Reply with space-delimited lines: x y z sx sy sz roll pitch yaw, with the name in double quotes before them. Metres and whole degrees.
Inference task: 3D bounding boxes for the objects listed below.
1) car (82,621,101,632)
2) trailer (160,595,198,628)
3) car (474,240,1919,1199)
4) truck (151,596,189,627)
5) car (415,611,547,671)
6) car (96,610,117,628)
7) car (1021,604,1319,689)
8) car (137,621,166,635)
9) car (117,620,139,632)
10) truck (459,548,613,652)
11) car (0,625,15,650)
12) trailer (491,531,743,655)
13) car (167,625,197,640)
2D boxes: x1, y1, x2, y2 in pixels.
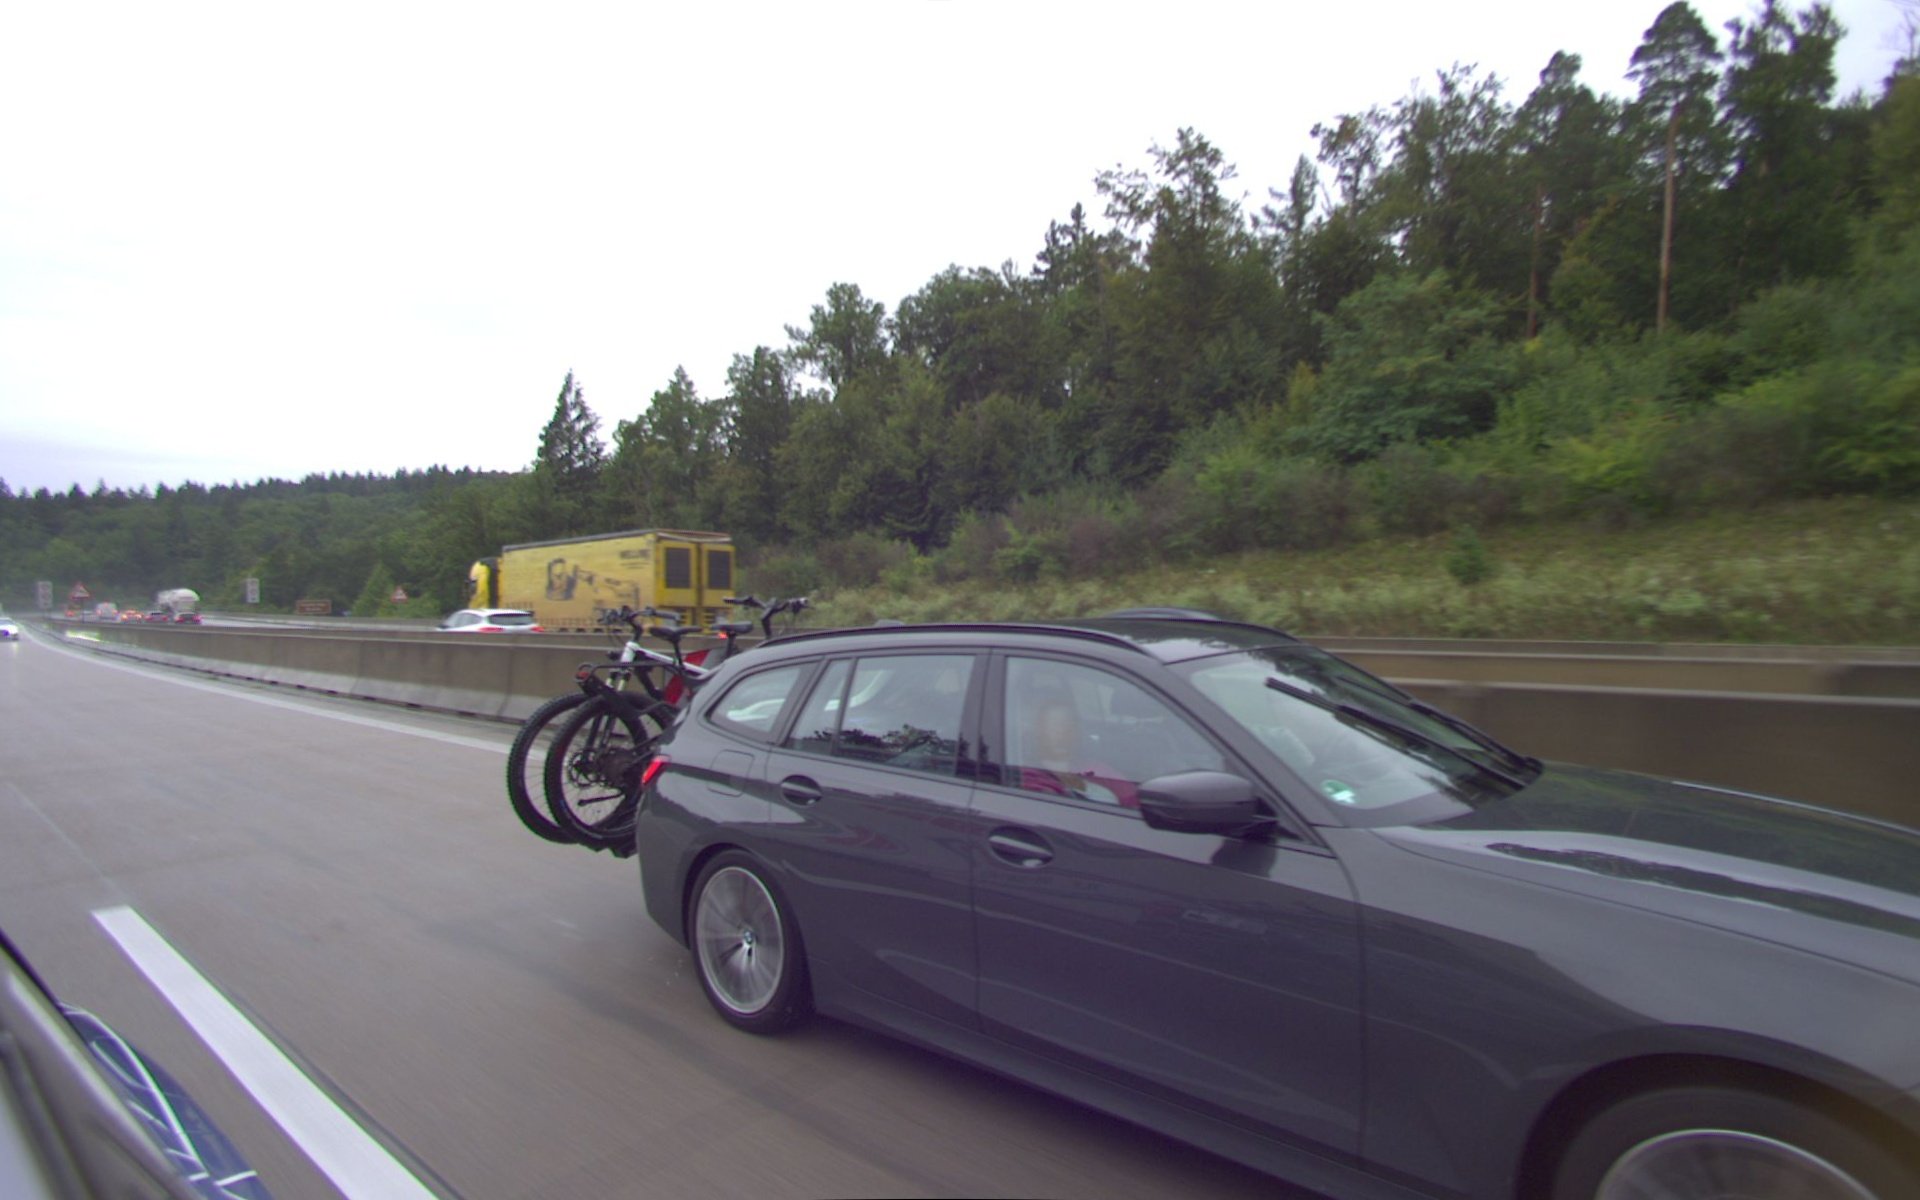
"car" -116.327 3.574 135.487 1.640 1.382 4.761 -1 0 -44
"trailer" -90.847 1.315 117.675 2.516 3.695 8.236 -1 0 -44
"car" 0.666 0.480 3.409 6.159 1.959 1.888 -1 -1 41
"truck" -96.682 1.436 123.765 2.534 3.695 10.499 -1 0 -44
"car" -13.287 1.091 27.964 4.543 1.490 1.636 -1 -1 41
"car" -126.058 2.803 149.467 1.970 2.467 6.751 -1 0 -44
"car" 3.308 0.701 16.550 4.542 1.207 1.636 -1 -1 40
"car" -79.376 2.734 99.336 1.781 1.343 4.569 -1 0 -43
"car" -99.265 3.115 120.769 1.639 1.382 4.724 -1 0 -44
"truck" -17.798 0.060 42.165 8.119 3.904 2.992 -1 -1 44
"car" -58.220 2.283 60.912 4.936 1.418 1.693 -2 -1 44
"trailer" -13.263 -0.104 37.745 13.704 3.904 2.980 -1 -1 44
"car" -65.418 2.728 85.026 1.493 1.174 4.406 -1 0 -44
